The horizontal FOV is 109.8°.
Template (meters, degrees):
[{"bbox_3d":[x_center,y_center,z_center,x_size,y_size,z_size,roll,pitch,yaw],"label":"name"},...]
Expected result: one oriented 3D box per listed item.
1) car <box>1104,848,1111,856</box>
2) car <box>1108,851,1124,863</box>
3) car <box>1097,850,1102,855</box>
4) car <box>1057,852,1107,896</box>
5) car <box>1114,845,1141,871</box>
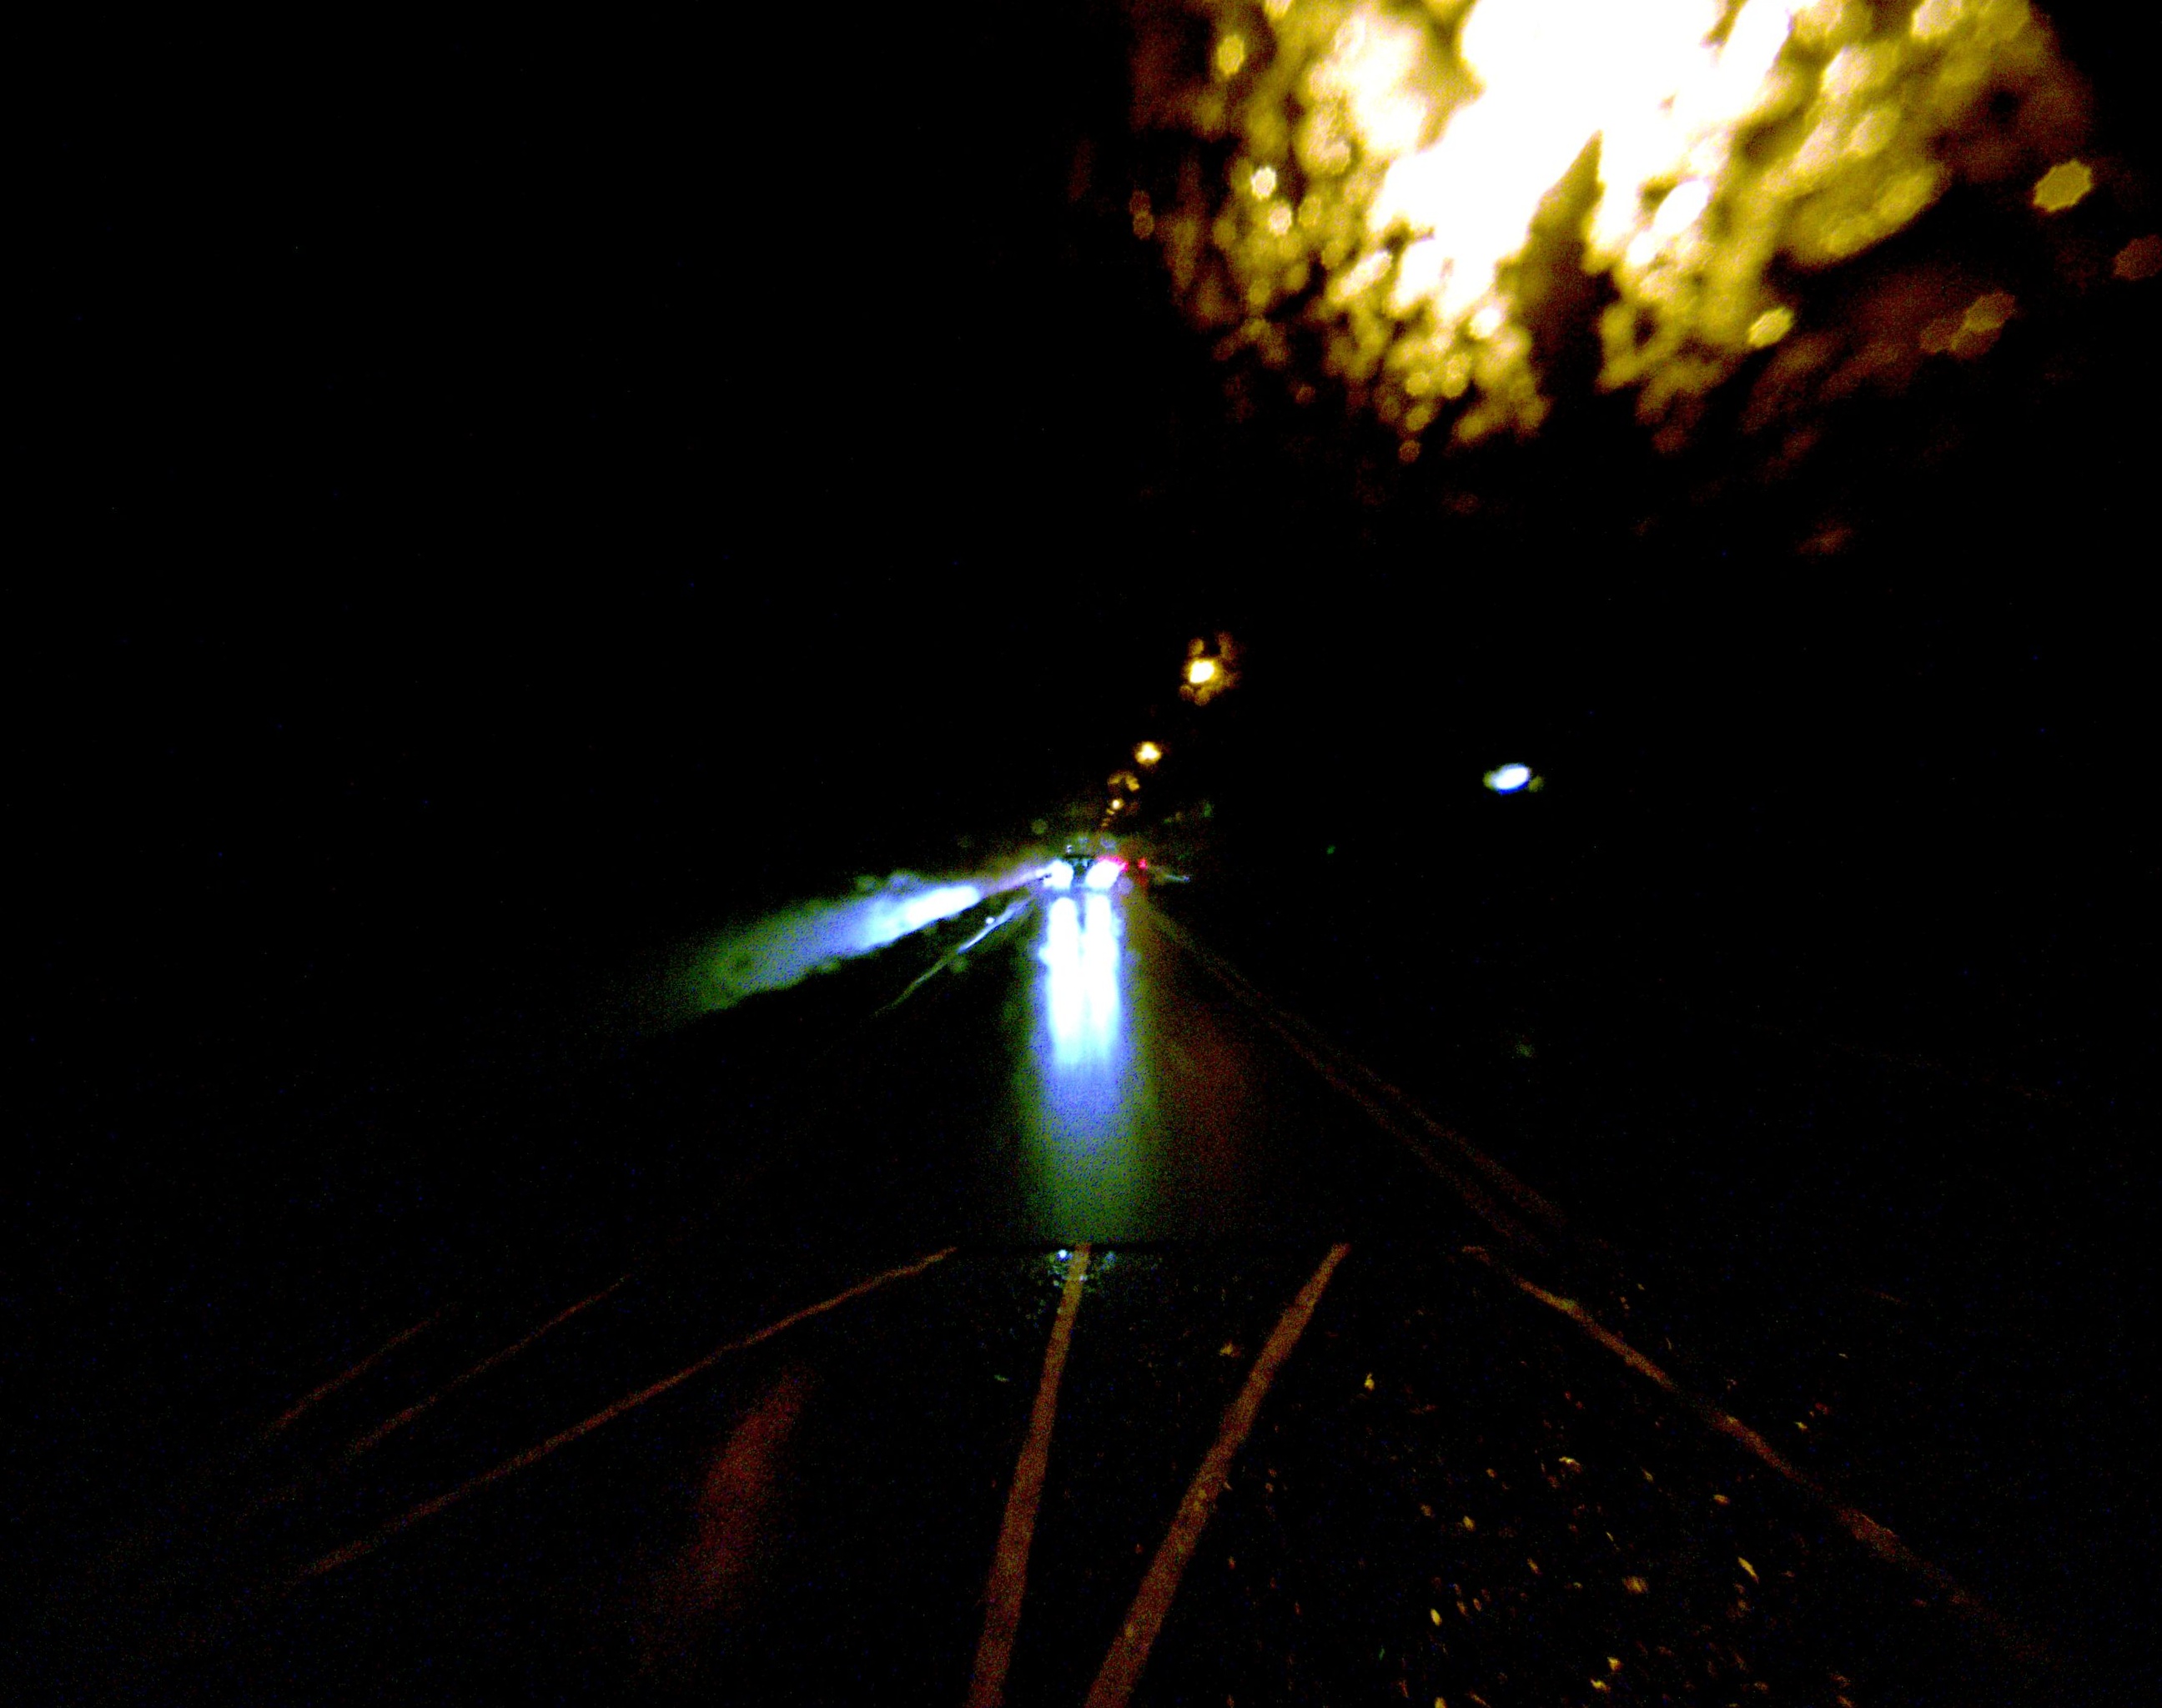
[{"bbox_3d":[5.643,-0.415,162.107,1.573,1.622,3.729,-1,0,1],"label":"car"},{"bbox_3d":[4.316,0.369,93.552,1.764,1.472,3.887,-2,0,1],"label":"car"},{"bbox_3d":[5.659,-0.393,232.635,1.602,1.604,3.995,-2,0,1],"label":"car"},{"bbox_3d":[0.055,0.748,30.596,1.829,1.650,3.929,-1,0,1],"label":"car"},{"bbox_3d":[3.482,0.258,57.015,1.733,1.781,3.932,-2,1,0],"label":"car"}]
